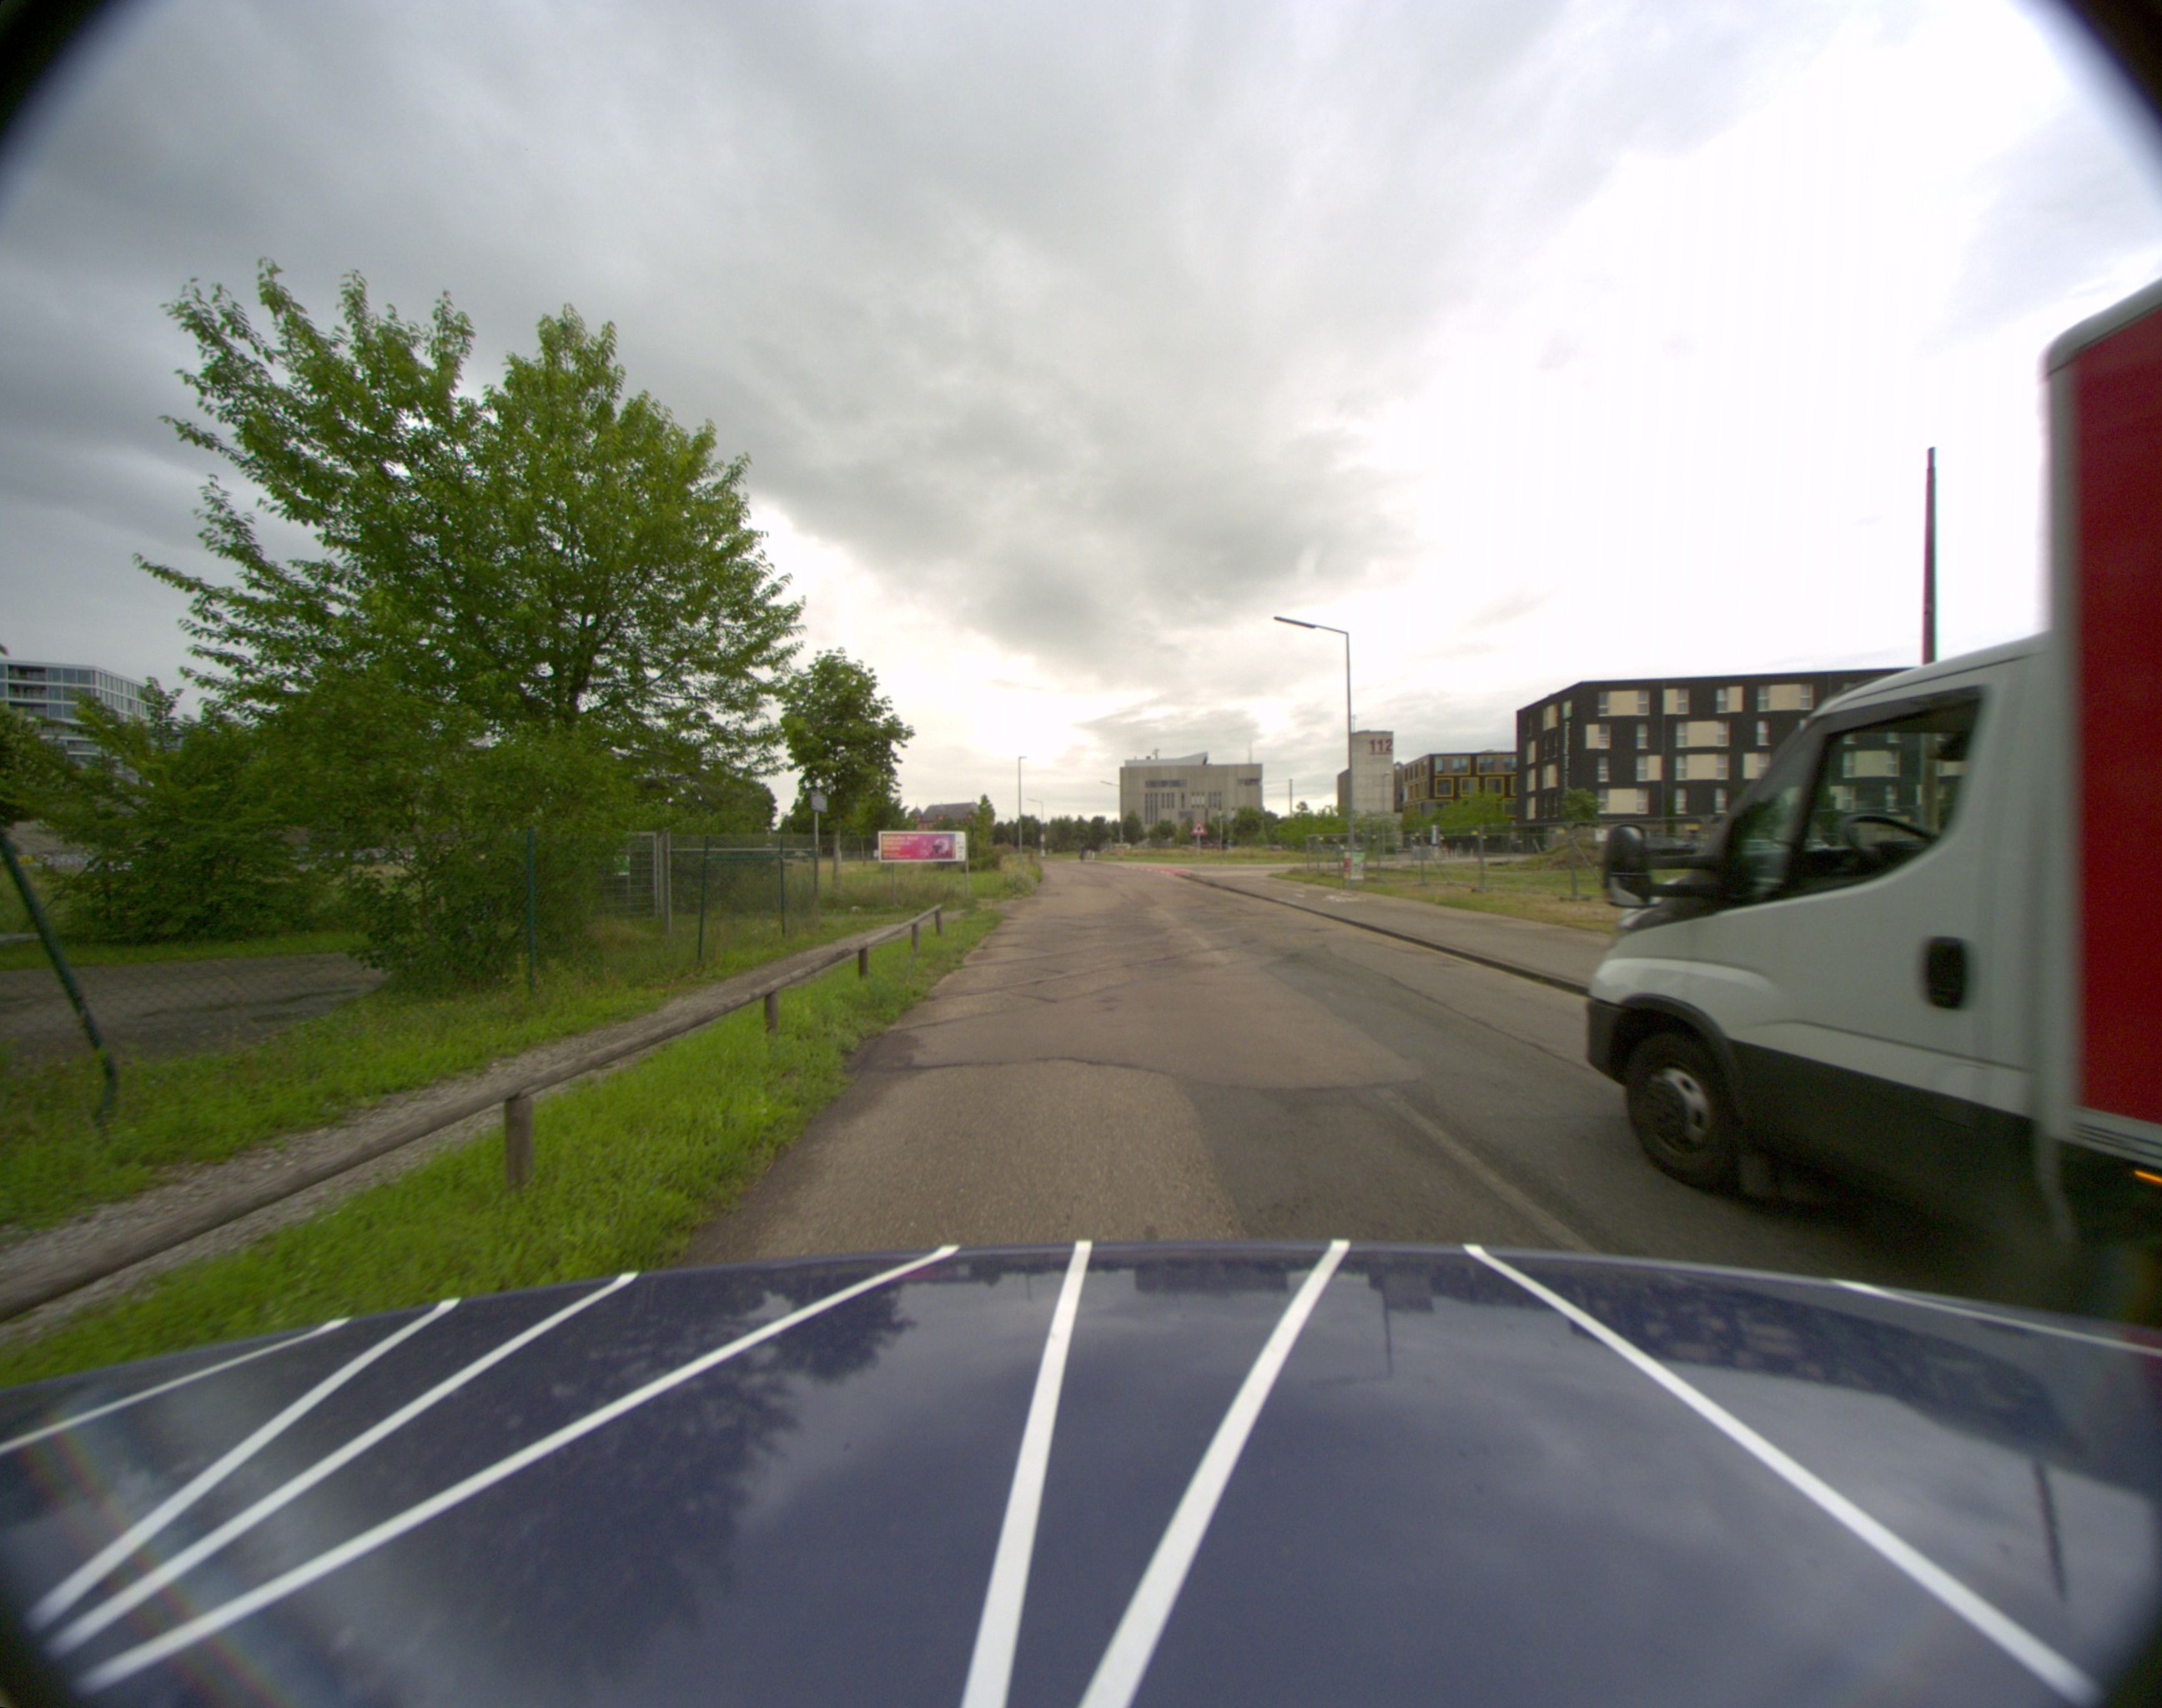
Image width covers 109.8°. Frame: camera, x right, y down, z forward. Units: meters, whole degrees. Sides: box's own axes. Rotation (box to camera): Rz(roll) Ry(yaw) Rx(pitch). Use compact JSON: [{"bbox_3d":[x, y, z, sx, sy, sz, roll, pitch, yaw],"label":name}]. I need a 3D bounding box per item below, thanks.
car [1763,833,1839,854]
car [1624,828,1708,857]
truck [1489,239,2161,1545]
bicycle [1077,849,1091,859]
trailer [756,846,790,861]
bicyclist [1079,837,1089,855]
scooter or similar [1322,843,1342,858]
[{"bbox_3d":[55.277,-0.759,58.440,1.998,1.508,4.154,-1,0,2],"label":"car"},{"bbox_3d":[39.062,-0.756,50.838,3.993,1.812,2.002,-1,0,11],"label":"car"},{"bbox_3d":[3.659,0.103,1.079,2.346,3.044,7.497,2,1,3],"label":"truck"},{"bbox_3d":[0.320,-0.020,86.698,0.887,1.046,2.465,-1,0,-16],"label":"bicycle"},{"bbox_3d":[-41.194,-0.074,101.685,4.006,2.002,1.639,-1,0,-32],"label":"trailer"},{"bbox_3d":[0.310,-0.878,86.696,0.865,2.002,1.176,-1,1,-15],"label":"bicyclist"},{"bbox_3d":[20.911,-0.285,63.365,1.468,1.162,0.570,-2,2,-16],"label":"scooter or similar"}]
